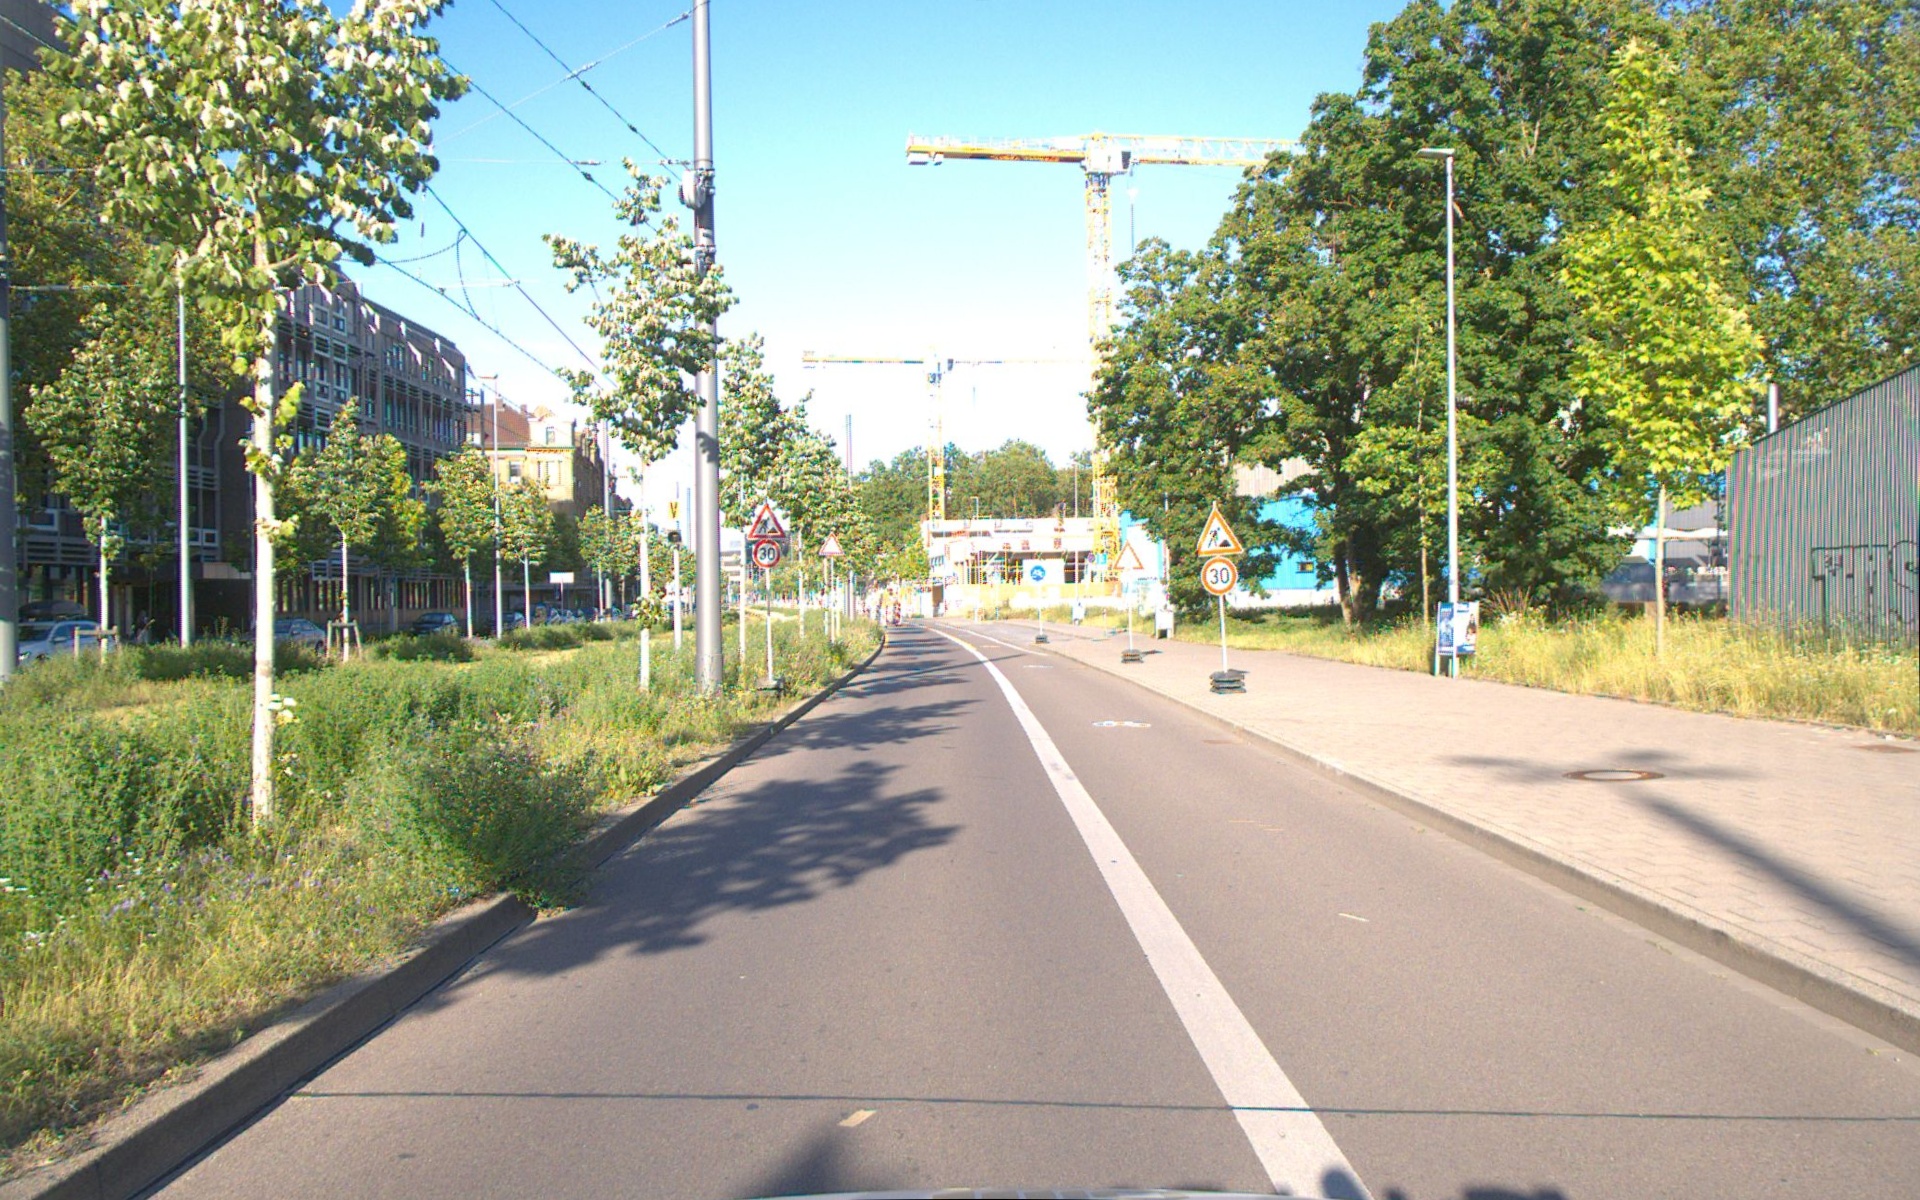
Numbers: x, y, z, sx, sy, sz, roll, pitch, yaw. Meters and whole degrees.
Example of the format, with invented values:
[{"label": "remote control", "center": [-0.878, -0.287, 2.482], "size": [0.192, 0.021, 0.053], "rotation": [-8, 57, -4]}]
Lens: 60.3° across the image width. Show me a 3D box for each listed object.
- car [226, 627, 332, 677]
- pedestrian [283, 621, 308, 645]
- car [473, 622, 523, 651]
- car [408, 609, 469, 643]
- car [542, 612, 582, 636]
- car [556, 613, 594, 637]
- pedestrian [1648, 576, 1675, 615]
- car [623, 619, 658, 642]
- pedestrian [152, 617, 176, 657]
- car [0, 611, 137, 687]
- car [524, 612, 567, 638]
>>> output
[{"label": "car", "center": [-23.490, 1.762, 57.248], "size": [1.722, 1.542, 4.582], "rotation": [-2, 0, 0]}, {"label": "pedestrian", "center": [-33.431, 1.658, 83.212], "size": [0.881, 1.189, 0.899], "rotation": [-1, 0, 0]}, {"label": "car", "center": [-27.447, 2.135, 98.390], "size": [1.865, 1.603, 4.299], "rotation": [-1, 0, -2]}, {"label": "car", "center": [-26.481, 1.305, 84.118], "size": [1.865, 1.603, 4.299], "rotation": [-1, 0, -2]}, {"label": "car", "center": [-27.585, 1.643, 114.682], "size": [1.865, 1.603, 4.299], "rotation": [-1, 0, -2]}, {"label": "car", "center": [-28.046, 1.817, 120.607], "size": [1.865, 1.603, 4.299], "rotation": [-1, 0, -2]}, {"label": "pedestrian", "center": [37.191, -0.229, 87.707], "size": [0.900, 2.049, 0.940], "rotation": [0, -2, -30]}, {"label": "car", "center": [-23.754, 2.223, 123.114], "size": [1.865, 1.603, 4.408], "rotation": [-1, 0, -2]}, {"label": "pedestrian", "center": [-31.050, 1.443, 64.540], "size": [0.651, 1.559, 0.648], "rotation": [-1, 0, -7]}, {"label": "car", "center": [-21.499, 1.140, 38.939], "size": [1.802, 1.622, 4.693], "rotation": [-3, 0, 0]}, {"label": "car", "center": [-27.267, 1.628, 108.890], "size": [1.865, 1.603, 4.299], "rotation": [-1, 0, -2]}]
